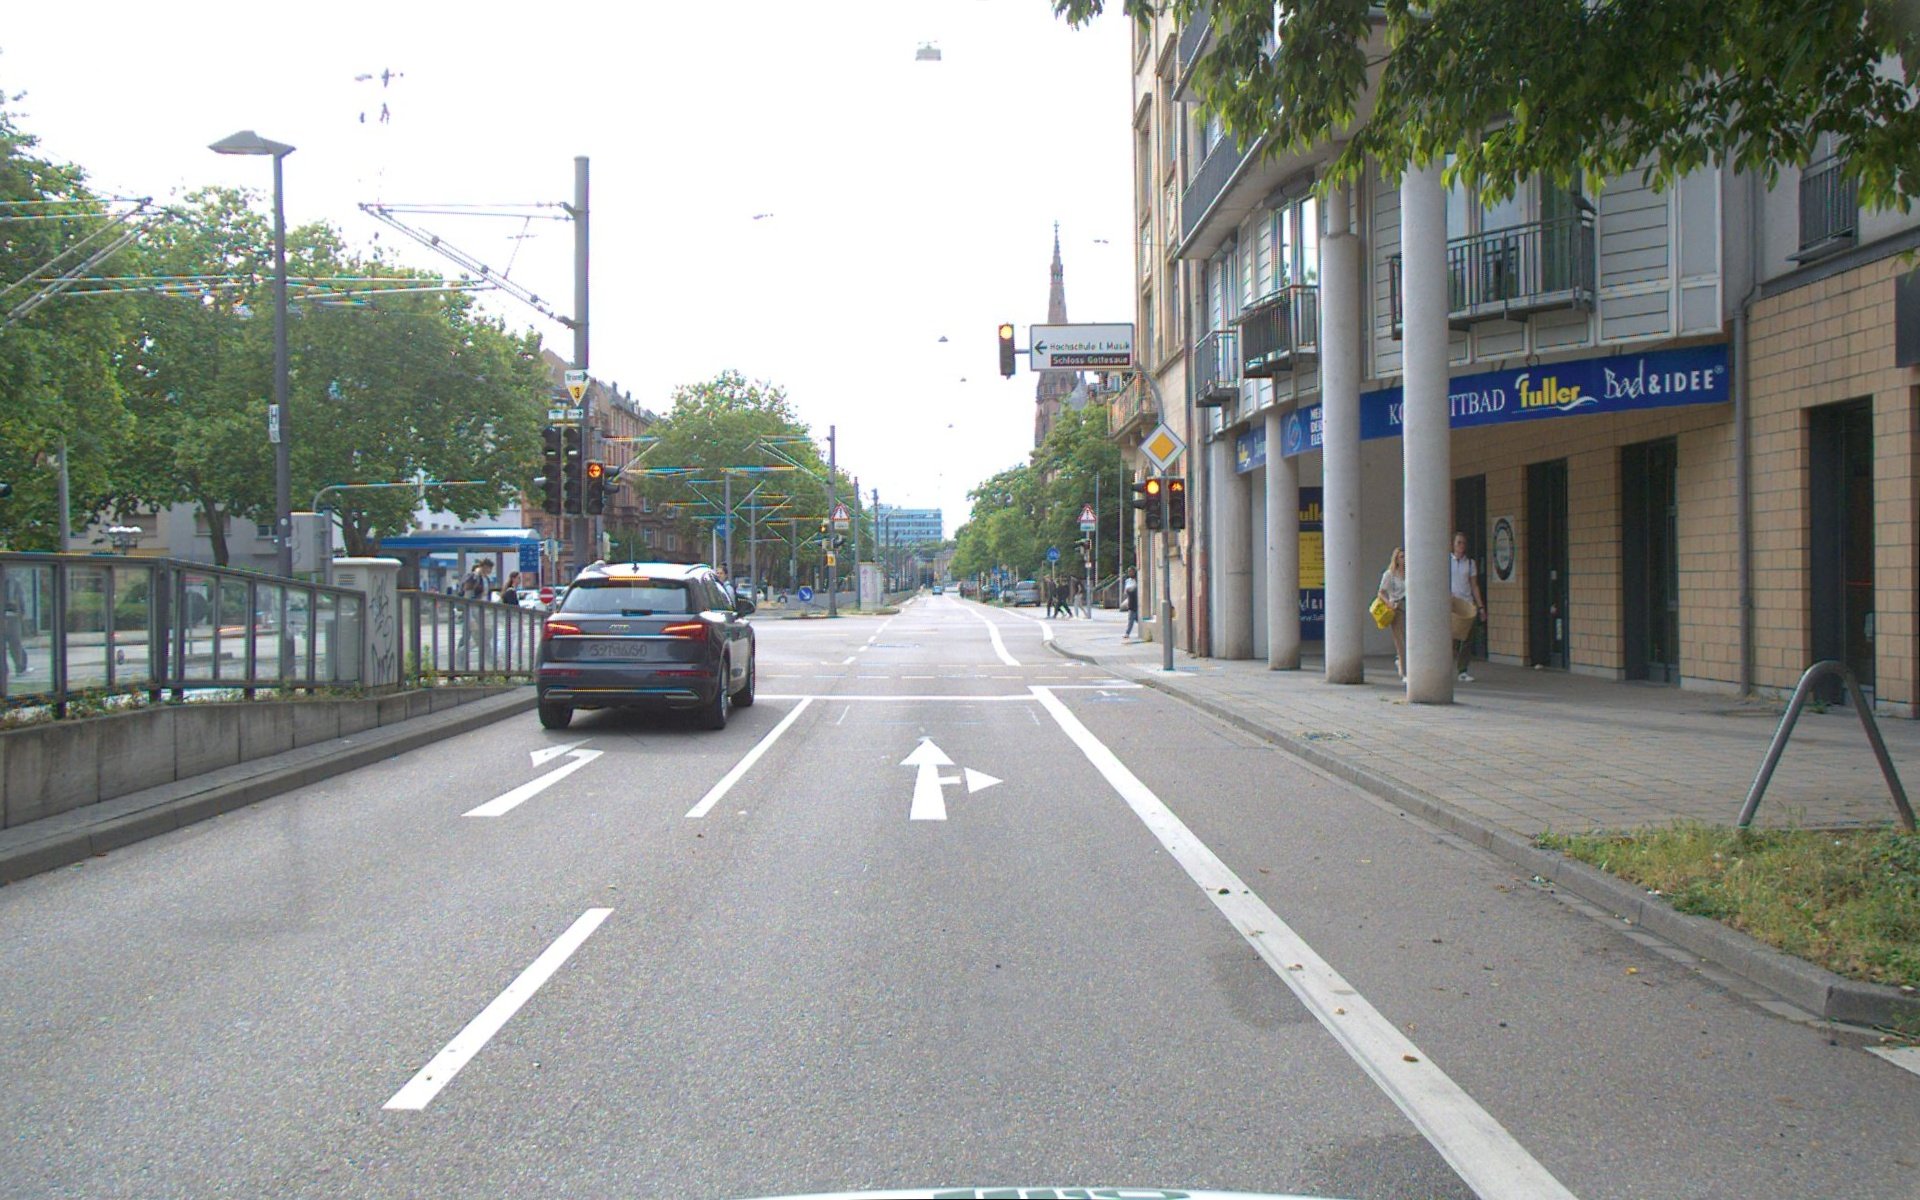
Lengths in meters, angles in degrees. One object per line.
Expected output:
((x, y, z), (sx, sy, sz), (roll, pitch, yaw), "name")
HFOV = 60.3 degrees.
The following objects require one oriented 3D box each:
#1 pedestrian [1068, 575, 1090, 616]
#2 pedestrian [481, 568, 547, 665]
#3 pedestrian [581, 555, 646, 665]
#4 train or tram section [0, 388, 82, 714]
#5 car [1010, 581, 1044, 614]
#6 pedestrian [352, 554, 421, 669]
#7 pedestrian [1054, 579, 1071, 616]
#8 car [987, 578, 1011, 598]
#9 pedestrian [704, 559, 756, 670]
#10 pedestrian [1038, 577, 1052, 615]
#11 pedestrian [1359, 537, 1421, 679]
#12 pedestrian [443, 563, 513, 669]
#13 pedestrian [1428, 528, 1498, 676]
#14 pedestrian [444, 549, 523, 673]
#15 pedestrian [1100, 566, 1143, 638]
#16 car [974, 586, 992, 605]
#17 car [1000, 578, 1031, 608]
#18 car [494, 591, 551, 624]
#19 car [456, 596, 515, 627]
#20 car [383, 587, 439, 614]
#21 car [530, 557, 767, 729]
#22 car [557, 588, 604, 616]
((4.856, -0.176, 67.601), (0.834, 1.683, 0.508), (0, 0, -3), "pedestrian")
((-7.602, 0.272, 28.190), (0.689, 1.621, 0.828), (0, 0, 36), "pedestrian")
((-5.856, 0.160, 27.972), (0.900, 1.815, 0.645), (1, 0, 37), "pedestrian")
((-12.174, -0.517, 12.377), (2.998, 3.651, 15.846), (0, 0, -1), "train or tram section")
((4.341, -0.176, 107.290), (1.953, 2.049, 3.999), (0, 0, -1), "car")
((-9.312, 0.181, 26.851), (0.998, 1.845, 0.580), (0, 0, -24), "pedestrian")
((4.291, -0.112, 69.291), (0.640, 1.564, 0.465), (0, 0, -5), "pedestrian")
((3.424, -1.084, 145.521), (1.953, 1.635, 4.163), (-2, 0, -1), "car")
((-3.588, 0.220, 25.830), (0.713, 1.690, 0.756), (0, 0, -1), "pedestrian")
((3.570, -0.163, 69.725), (0.535, 1.564, 0.465), (0, 0, -5), "pedestrian")
((5.721, 0.102, 22.029), (0.603, 1.837, 0.737), (-2, 0, 0), "pedestrian")
((-7.824, 0.258, 26.855), (0.982, 1.681, 0.622), (0, 0, -29), "pedestrian")
((6.689, 0.025, 22.015), (0.661, 1.923, 0.737), (-2, 0, 0), "pedestrian")
((-7.109, 0.153, 24.669), (1.113, 1.810, 0.625), (0, 0, -19), "pedestrian")
((3.879, 0.039, 39.724), (0.659, 1.709, 0.865), (0, 0, 38), "pedestrian")
((2.645, -0.513, 188.796), (1.953, 2.049, 3.999), (0, 0, -1), "car")
((3.911, -0.512, 116.716), (1.953, 2.049, 3.999), (0, 0, -1), "car")
((-21.666, 0.365, 81.986), (1.856, 1.585, 3.835), (0, 0, -1), "car")
((-21.691, 0.505, 75.674), (1.601, 1.348, 3.999), (0, 0, -1), "car")
((-32.145, 0.016, 96.957), (1.953, 1.557, 3.999), (0, 0, -1), "car")
((-3.207, 0.389, 17.843), (1.842, 1.629, 4.356), (0, 0, -2), "car")
((-21.965, 0.097, 95.790), (1.856, 1.585, 3.835), (0, 0, -1), "car")
